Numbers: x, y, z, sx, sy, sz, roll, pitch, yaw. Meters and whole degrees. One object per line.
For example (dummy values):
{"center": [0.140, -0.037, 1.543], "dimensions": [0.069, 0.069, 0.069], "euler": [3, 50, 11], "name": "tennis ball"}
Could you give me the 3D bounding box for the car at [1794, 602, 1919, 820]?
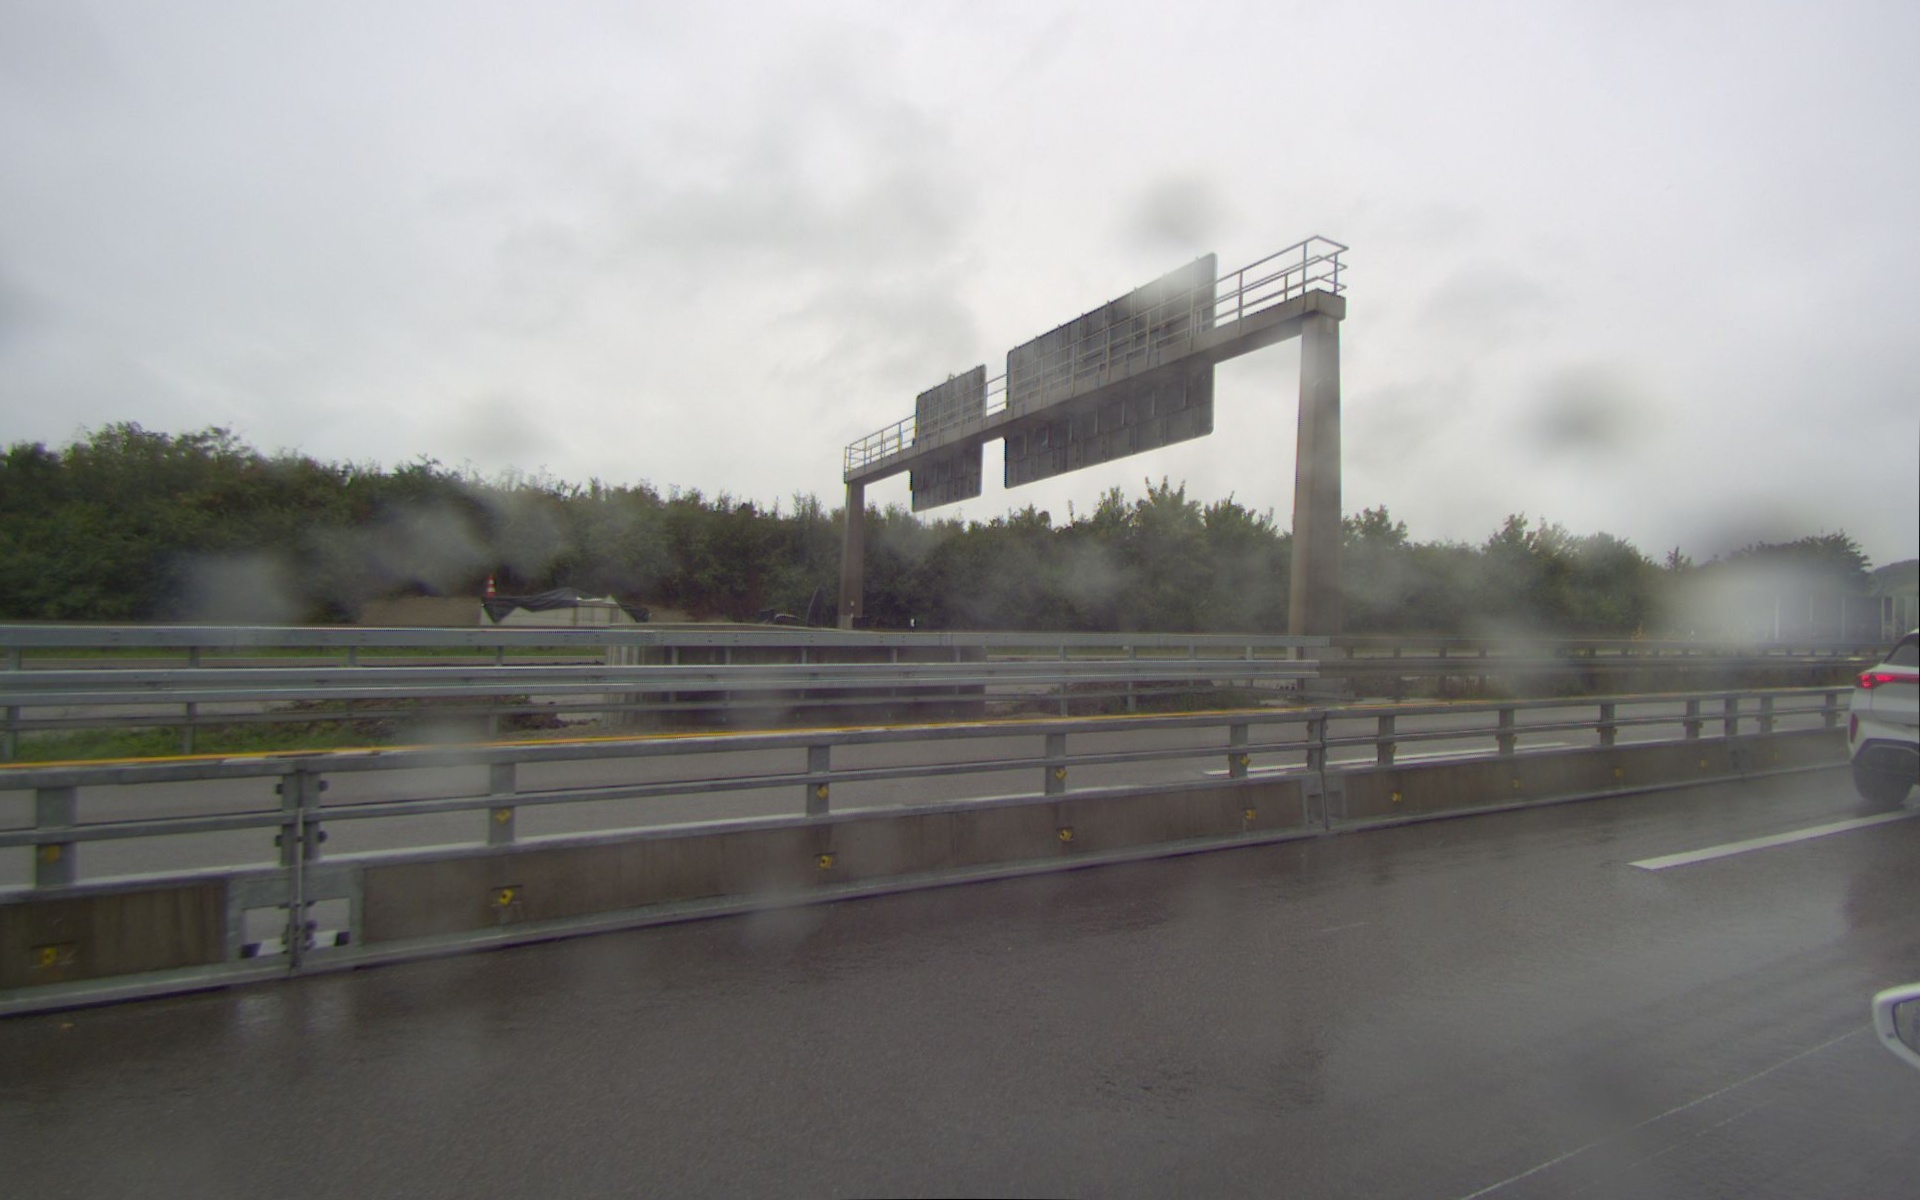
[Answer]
{"center": [9.444, 0.923, 8.621], "dimensions": [4.740, 1.639, 1.984], "euler": [2, 0, -30], "name": "car"}
